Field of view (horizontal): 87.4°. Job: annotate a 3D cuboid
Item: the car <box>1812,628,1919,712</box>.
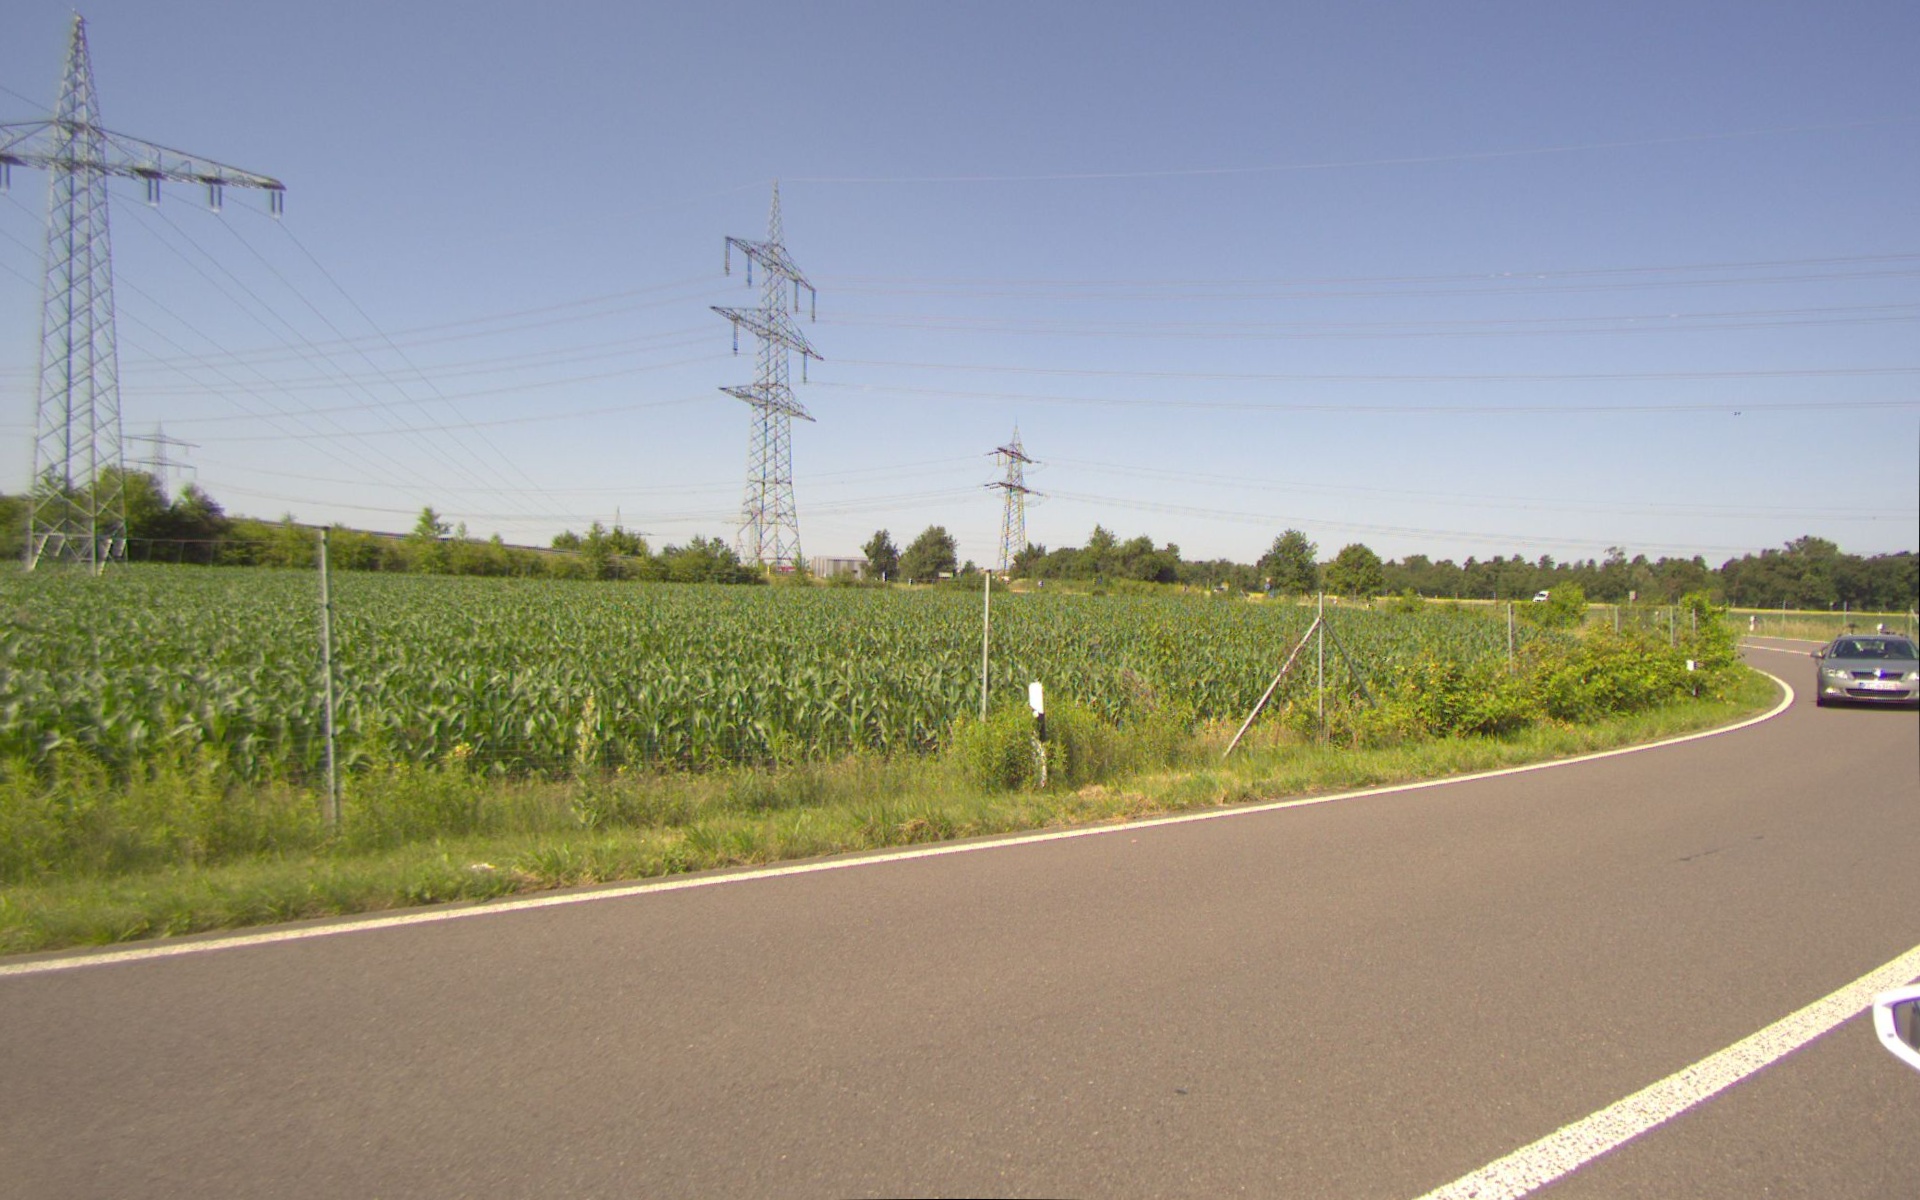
[{"bbox_3d":[18.990,1.376,20.874,1.845,1.500,5.109,-3,-2,41],"label":"car"}]
